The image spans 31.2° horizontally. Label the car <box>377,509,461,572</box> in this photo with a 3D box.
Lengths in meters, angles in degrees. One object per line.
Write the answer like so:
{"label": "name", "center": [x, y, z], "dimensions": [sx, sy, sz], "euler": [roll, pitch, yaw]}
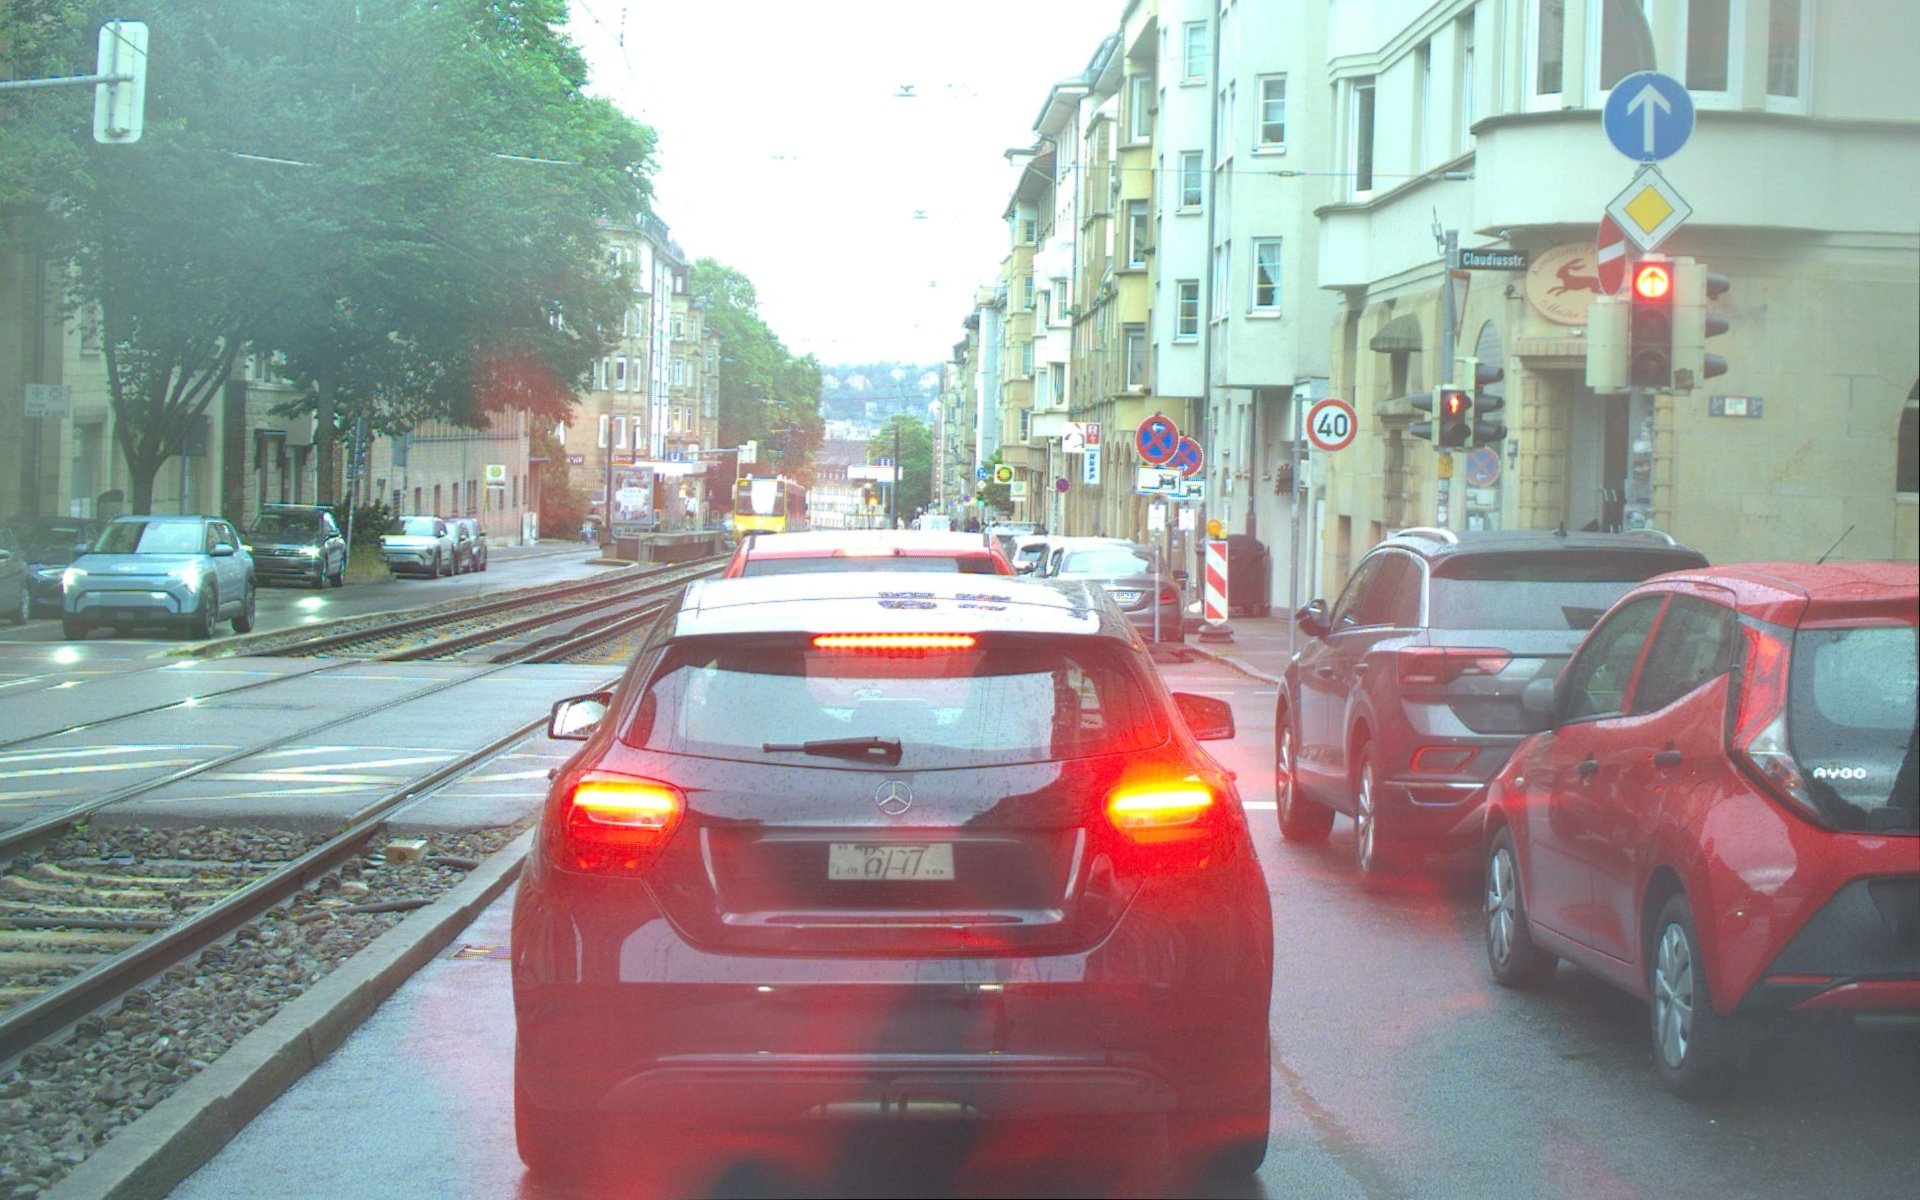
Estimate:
{"label": "car", "center": [-14.004, -1.535, 89.145], "dimensions": [1.589, 1.575, 3.918], "euler": [1, 0, -1]}

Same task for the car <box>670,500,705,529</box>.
{"label": "car", "center": [-12.201, -3.809, 153.984], "dimensions": [1.377, 1.245, 3.298], "euler": [1, 0, -2]}

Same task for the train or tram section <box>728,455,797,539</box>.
{"label": "train or tram section", "center": [-9.575, -4.946, 167.564], "dimensions": [2.783, 3.847, 10.430], "euler": [1, 0, -1]}

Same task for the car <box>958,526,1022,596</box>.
{"label": "car", "center": [0.626, -0.843, 73.575], "dimensions": [1.294, 1.437, 2.929], "euler": [1, 1, -1]}

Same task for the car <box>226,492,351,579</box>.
{"label": "car", "center": [-13.965, -1.319, 71.682], "dimensions": [1.875, 1.731, 3.918], "euler": [1, 0, -1]}

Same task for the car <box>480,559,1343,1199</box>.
{"label": "car", "center": [-0.131, 0.644, 9.438], "dimensions": [1.829, 1.453, 4.104], "euler": [1, 1, -1]}

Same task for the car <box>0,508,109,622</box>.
{"label": "car", "center": [-13.743, -0.515, 50.703], "dimensions": [1.716, 1.605, 3.919], "euler": [1, 0, -5]}

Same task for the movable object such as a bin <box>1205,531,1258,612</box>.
{"label": "movable object such as a bin", "center": [4.704, -0.488, 59.554], "dimensions": [0.878, 1.384, 0.982], "euler": [1, 0, 3]}

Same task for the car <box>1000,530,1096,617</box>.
{"label": "car", "center": [1.546, -0.486, 61.507], "dimensions": [1.544, 1.481, 3.548], "euler": [1, 1, -1]}

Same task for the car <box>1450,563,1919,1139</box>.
{"label": "car", "center": [2.645, 0.640, 10.507], "dimensions": [1.642, 1.443, 3.299], "euler": [1, 1, -3]}

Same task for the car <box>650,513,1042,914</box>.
{"label": "car", "center": [-0.484, 0.443, 15.825], "dimensions": [1.565, 1.604, 3.814], "euler": [1, 0, -1]}

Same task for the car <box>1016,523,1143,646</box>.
{"label": "car", "center": [1.605, -0.235, 47.097], "dimensions": [1.544, 1.585, 3.548], "euler": [1, 1, -1]}

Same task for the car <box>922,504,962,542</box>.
{"label": "car", "center": [-0.942, -3.966, 178.285], "dimensions": [1.993, 1.870, 4.000], "euler": [1, 0, -1]}

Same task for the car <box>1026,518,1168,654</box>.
{"label": "car", "center": [1.661, -0.198, 42.622], "dimensions": [1.544, 1.585, 3.548], "euler": [1, 1, -1]}

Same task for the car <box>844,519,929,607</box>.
{"label": "car", "center": [-1.395, -0.726, 66.203], "dimensions": [1.544, 1.630, 3.686], "euler": [1, 1, -1]}

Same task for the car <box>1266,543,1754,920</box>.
{"label": "car", "center": [2.381, 0.497, 15.745], "dimensions": [1.544, 1.481, 3.830], "euler": [1, 1, -1]}

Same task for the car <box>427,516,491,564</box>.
{"label": "car", "center": [-14.348, -1.720, 98.555], "dimensions": [1.448, 1.326, 3.272], "euler": [1, 0, -2]}

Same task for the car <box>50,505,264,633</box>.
{"label": "car", "center": [-10.465, -0.409, 45.059], "dimensions": [1.898, 1.582, 3.973], "euler": [1, 0, -1]}

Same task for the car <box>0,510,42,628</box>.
{"label": "car", "center": [-13.490, -0.427, 45.673], "dimensions": [1.752, 1.547, 4.036], "euler": [1, 0, -4]}
